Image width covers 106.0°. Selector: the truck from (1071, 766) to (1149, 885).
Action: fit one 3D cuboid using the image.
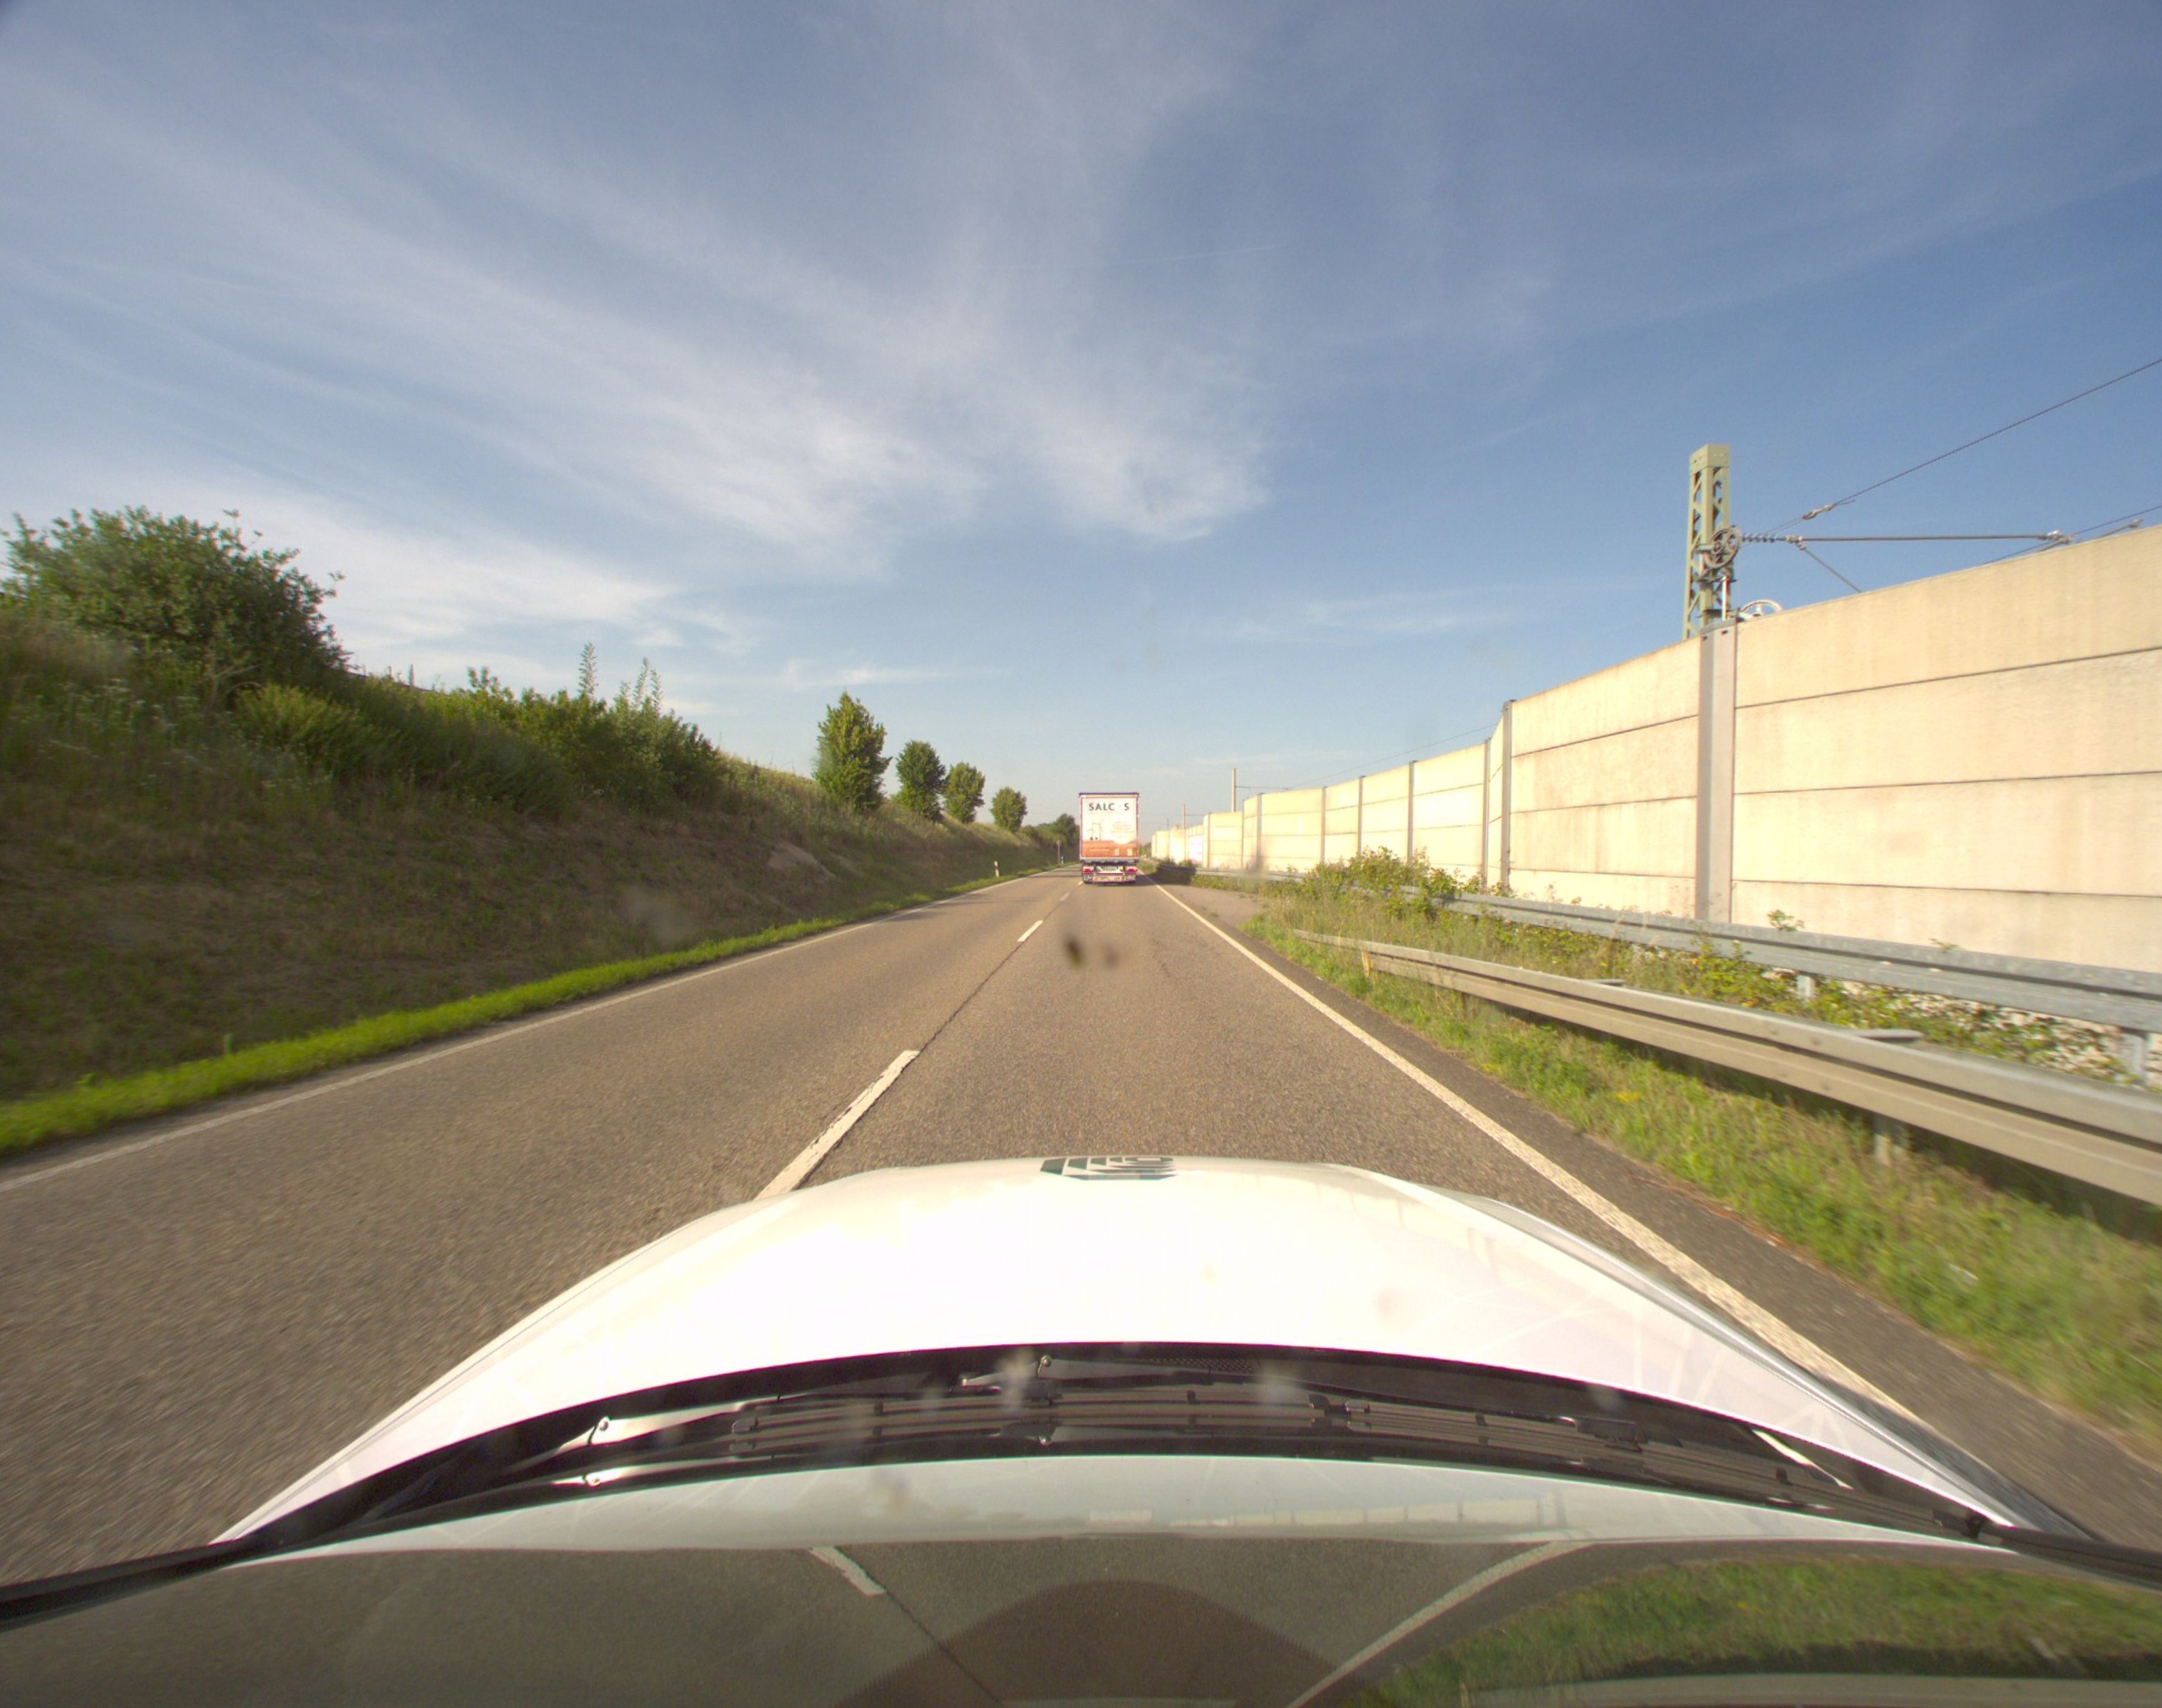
[{"bbox_3d":[1.438,-1.264,40.989,3.278,5.090,12.042,-1,0,2],"label":"truck"}]
